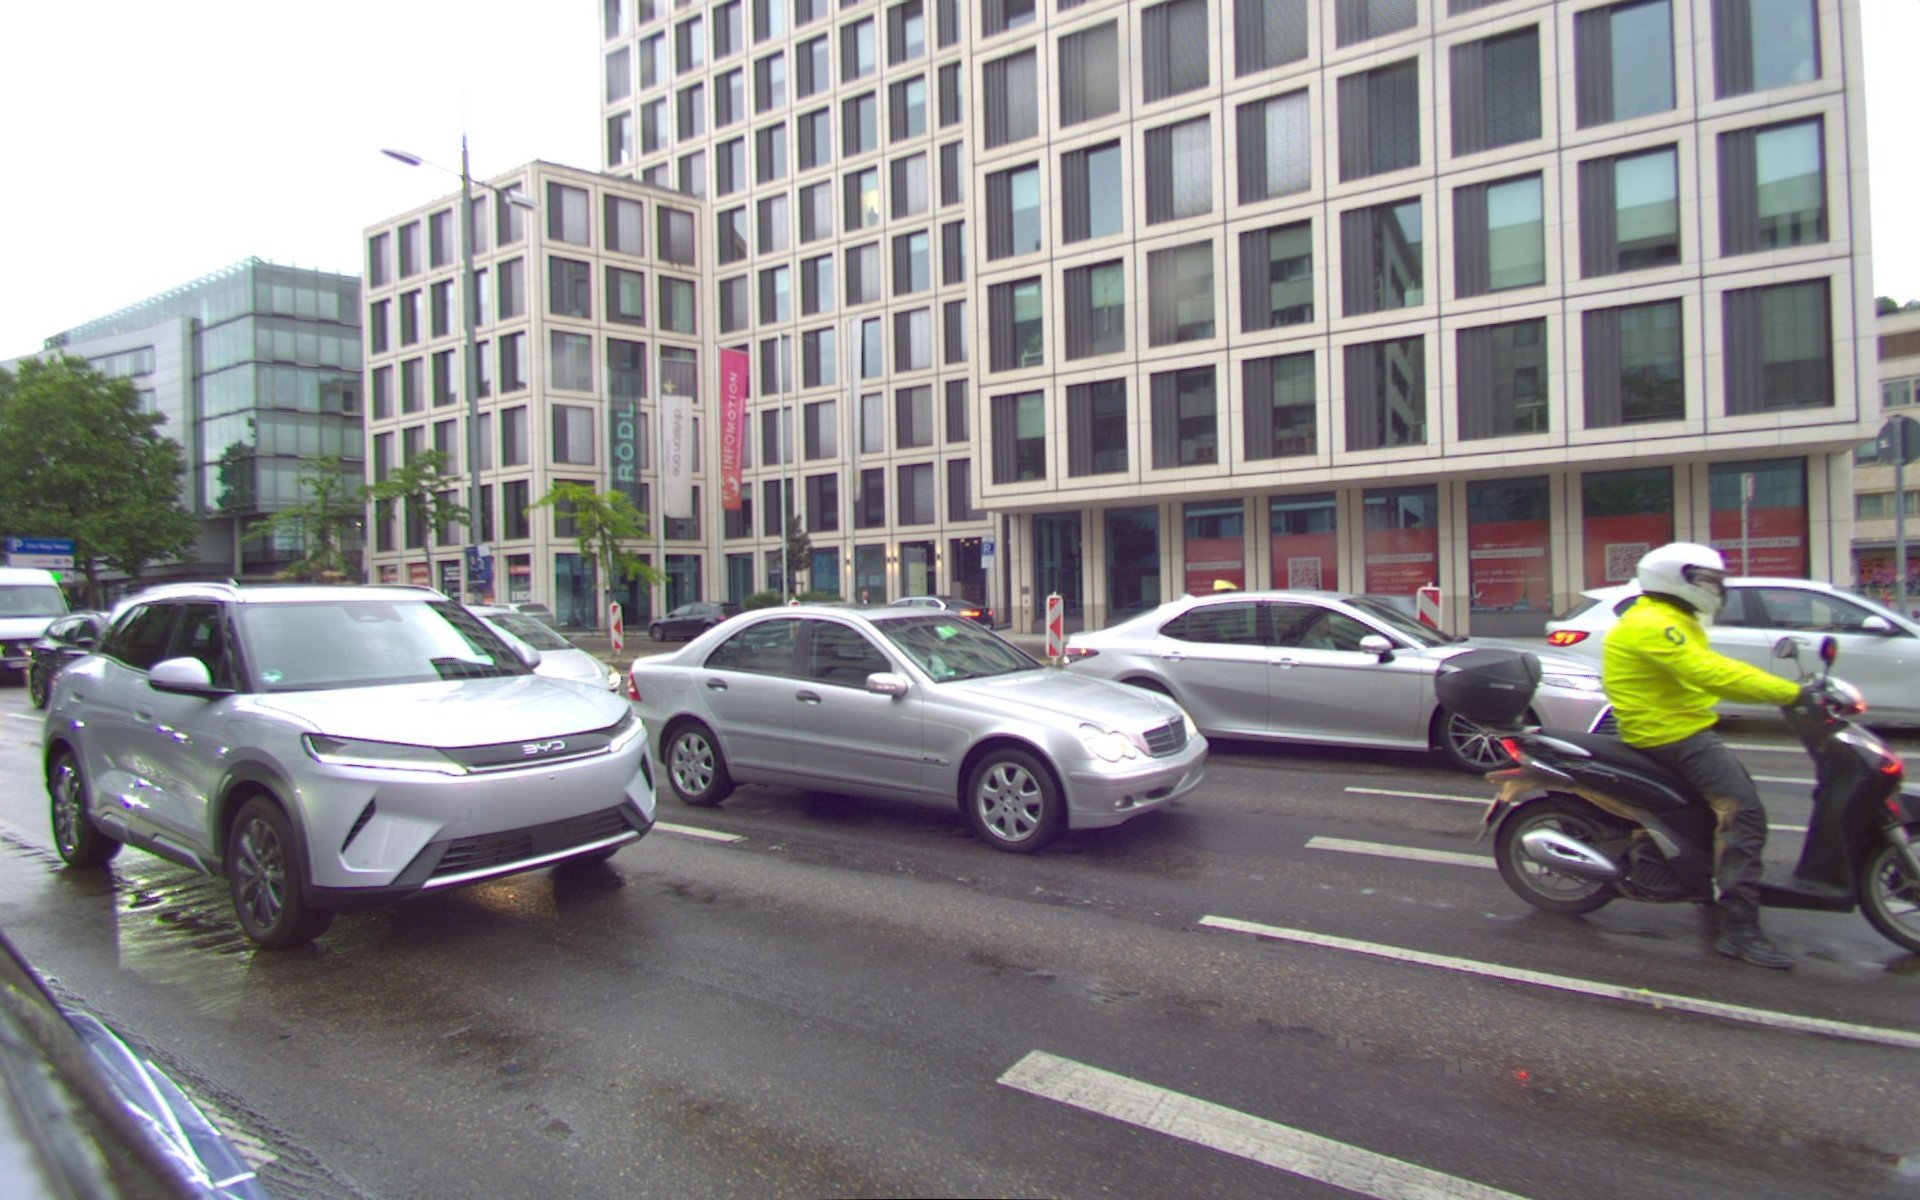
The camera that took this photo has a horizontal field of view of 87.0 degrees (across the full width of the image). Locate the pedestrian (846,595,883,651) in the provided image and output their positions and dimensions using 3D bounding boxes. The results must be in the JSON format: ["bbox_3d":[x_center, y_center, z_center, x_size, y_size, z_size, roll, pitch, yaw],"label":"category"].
[{"bbox_3d":[-3.055,0.740,32.373,0.963,1.747,0.608,-1,1,30],"label":"pedestrian"}]

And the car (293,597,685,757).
[{"bbox_3d":[-5.280,0.751,11.313,4.104,1.490,1.760,-1,1,25],"label":"car"}]

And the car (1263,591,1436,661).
[{"bbox_3d":[9.136,0.606,23.780,3.668,1.530,1.688,-1,-1,26],"label":"car"}]

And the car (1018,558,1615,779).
[{"bbox_3d":[3.038,0.469,9.159,4.790,1.532,1.815,0,1,35],"label":"car"}]

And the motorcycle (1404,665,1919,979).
[{"bbox_3d":[3.131,0.817,4.170,2.285,0.997,0.935,-1,1,30],"label":"motorcycle"}]

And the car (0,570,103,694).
[{"bbox_3d":[-20.631,0.630,21.649,5.709,2.403,2.233,0,1,36],"label":"car"}]

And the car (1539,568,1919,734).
[{"bbox_3d":[7.867,0.414,9.660,3.982,1.383,1.769,0,1,33],"label":"car"}]

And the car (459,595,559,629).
[{"bbox_3d":[-19.489,0.541,43.677,4.354,1.435,1.686,-1,-1,29],"label":"car"}]

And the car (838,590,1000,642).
[{"bbox_3d":[-1.385,0.539,32.899,5.161,1.581,1.686,-1,-1,29],"label":"car"}]

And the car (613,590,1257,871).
[{"bbox_3d":[-0.344,0.677,7.149,4.372,1.414,1.718,0,1,35],"label":"car"}]

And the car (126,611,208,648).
[{"bbox_3d":[-46.753,1.700,59.650,4.893,2.029,1.981,-1,1,28],"label":"car"}]

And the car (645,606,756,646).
[{"bbox_3d":[-9.696,0.971,37.780,3.938,1.435,1.686,-1,-1,29],"label":"car"}]

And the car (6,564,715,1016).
[{"bbox_3d":[-3.497,0.696,5.660,4.160,1.673,1.793,0,1,34],"label":"car"}]

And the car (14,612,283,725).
[{"bbox_3d":[-12.228,0.925,15.191,4.228,1.412,1.885,-1,1,33],"label":"car"}]

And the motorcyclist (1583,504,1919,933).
[{"bbox_3d":[3.202,0.405,4.112,1.096,1.486,0.935,-1,1,30],"label":"motorcyclist"}]

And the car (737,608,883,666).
[{"bbox_3d":[-4.248,1.020,28.561,3.857,1.530,1.686,-1,-1,29],"label":"car"}]
